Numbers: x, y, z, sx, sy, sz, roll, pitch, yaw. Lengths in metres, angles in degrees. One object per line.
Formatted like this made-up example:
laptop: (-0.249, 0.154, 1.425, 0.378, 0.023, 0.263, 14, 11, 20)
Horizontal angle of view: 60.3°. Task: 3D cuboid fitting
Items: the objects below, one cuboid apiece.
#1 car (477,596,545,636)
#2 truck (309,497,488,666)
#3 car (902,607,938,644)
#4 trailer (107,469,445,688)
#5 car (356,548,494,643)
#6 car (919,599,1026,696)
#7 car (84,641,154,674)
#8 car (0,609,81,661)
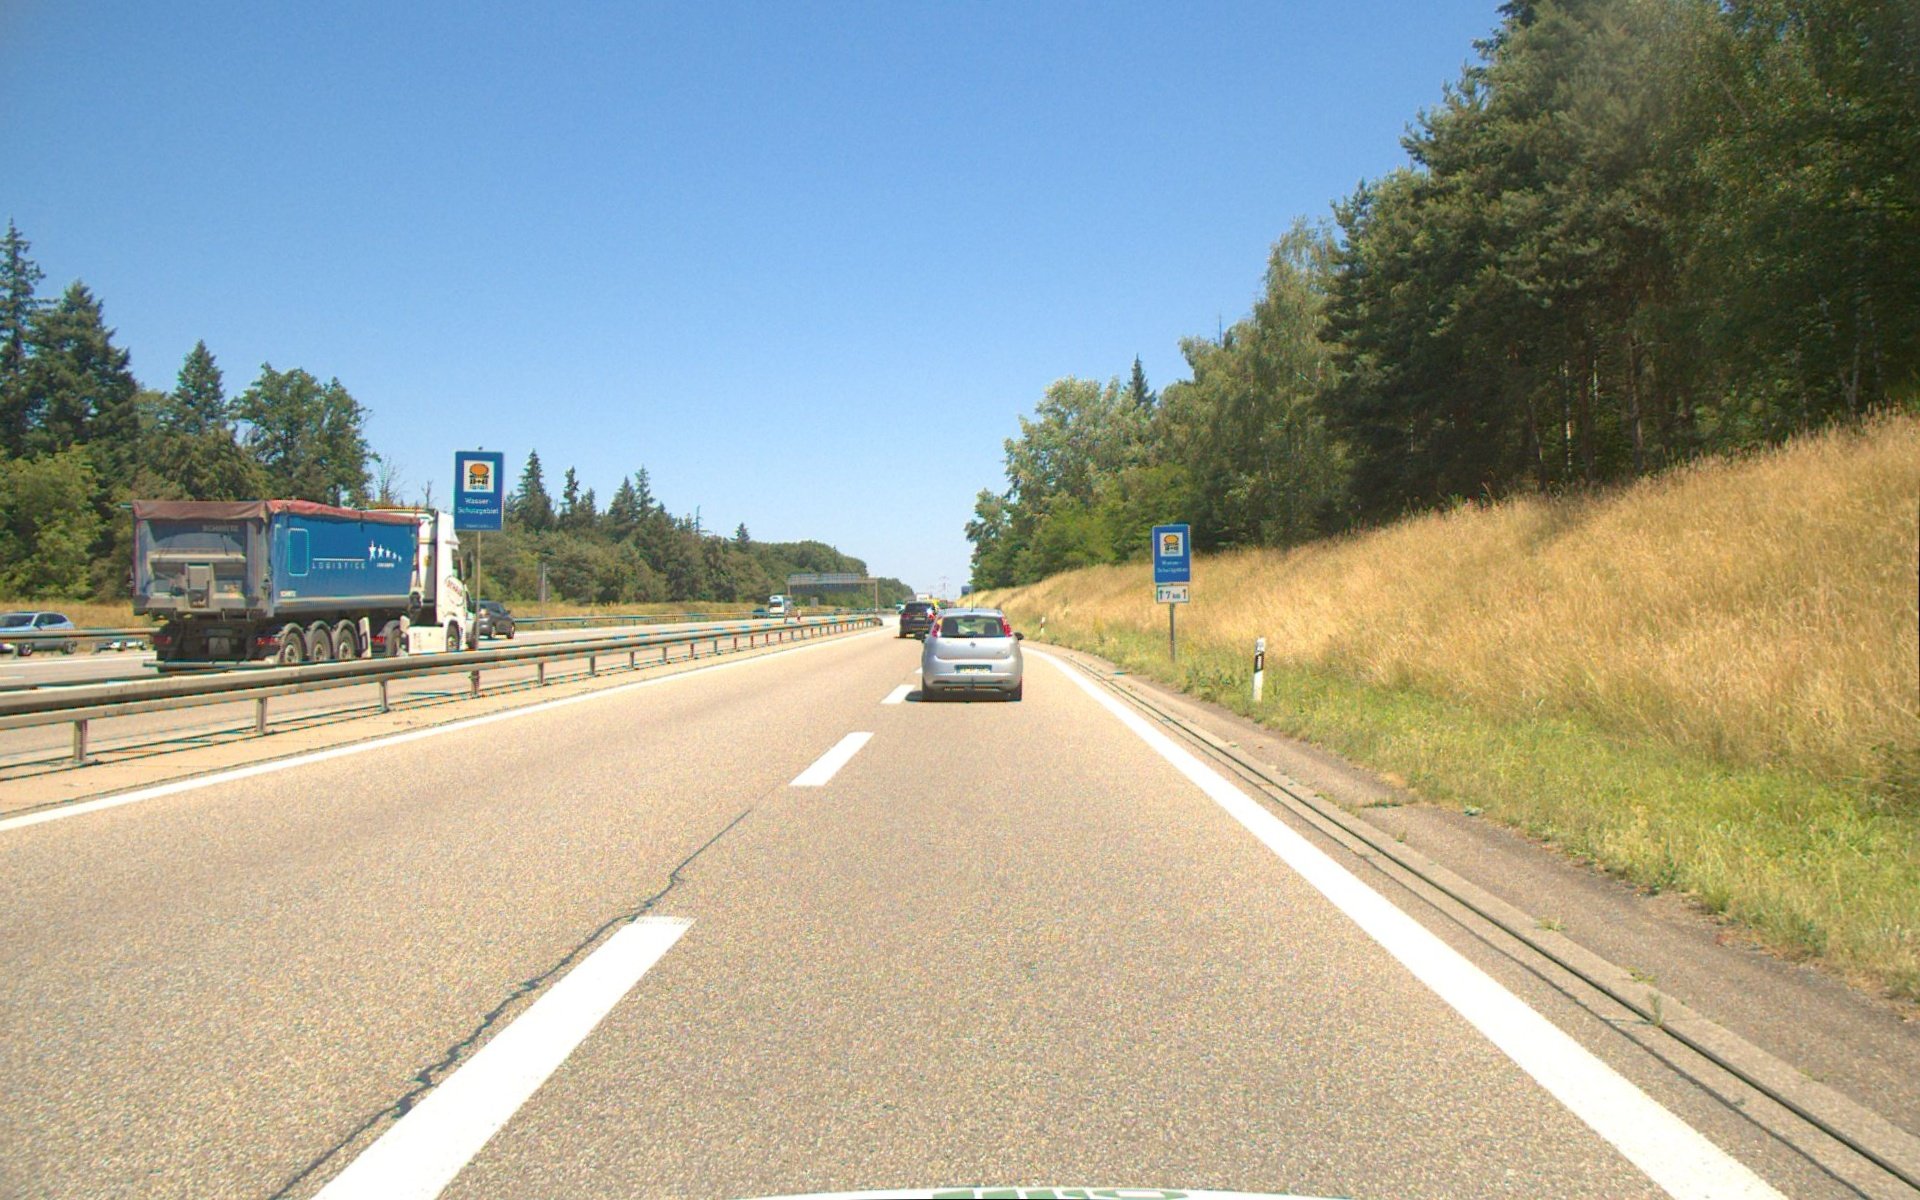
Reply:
car: (-19.449, 0.720, 71.824, 1.953, 1.646, 3.998, 0, -1, -1)
truck: (-13.560, -0.434, 40.308, 2.699, 3.874, 4.622, 0, 0, 1)
car: (-1.964, 1.254, 79.544, 1.672, 1.706, 3.395, 0, -2, -2)
trailer: (-13.674, -0.397, 34.280, 2.714, 3.874, 9.886, 0, 0, 1)
car: (-17.579, -0.061, 54.771, 2.579, 2.947, 6.472, 0, -1, -2)
car: (0.217, 0.784, 27.636, 1.671, 1.508, 3.397, 0, -1, 1)
car: (-48.938, 3.336, 96.311, 1.952, 1.814, 4.000, 0, -1, 1)
car: (-33.957, 1.264, 60.087, 1.953, 1.814, 3.999, 0, -1, -1)
